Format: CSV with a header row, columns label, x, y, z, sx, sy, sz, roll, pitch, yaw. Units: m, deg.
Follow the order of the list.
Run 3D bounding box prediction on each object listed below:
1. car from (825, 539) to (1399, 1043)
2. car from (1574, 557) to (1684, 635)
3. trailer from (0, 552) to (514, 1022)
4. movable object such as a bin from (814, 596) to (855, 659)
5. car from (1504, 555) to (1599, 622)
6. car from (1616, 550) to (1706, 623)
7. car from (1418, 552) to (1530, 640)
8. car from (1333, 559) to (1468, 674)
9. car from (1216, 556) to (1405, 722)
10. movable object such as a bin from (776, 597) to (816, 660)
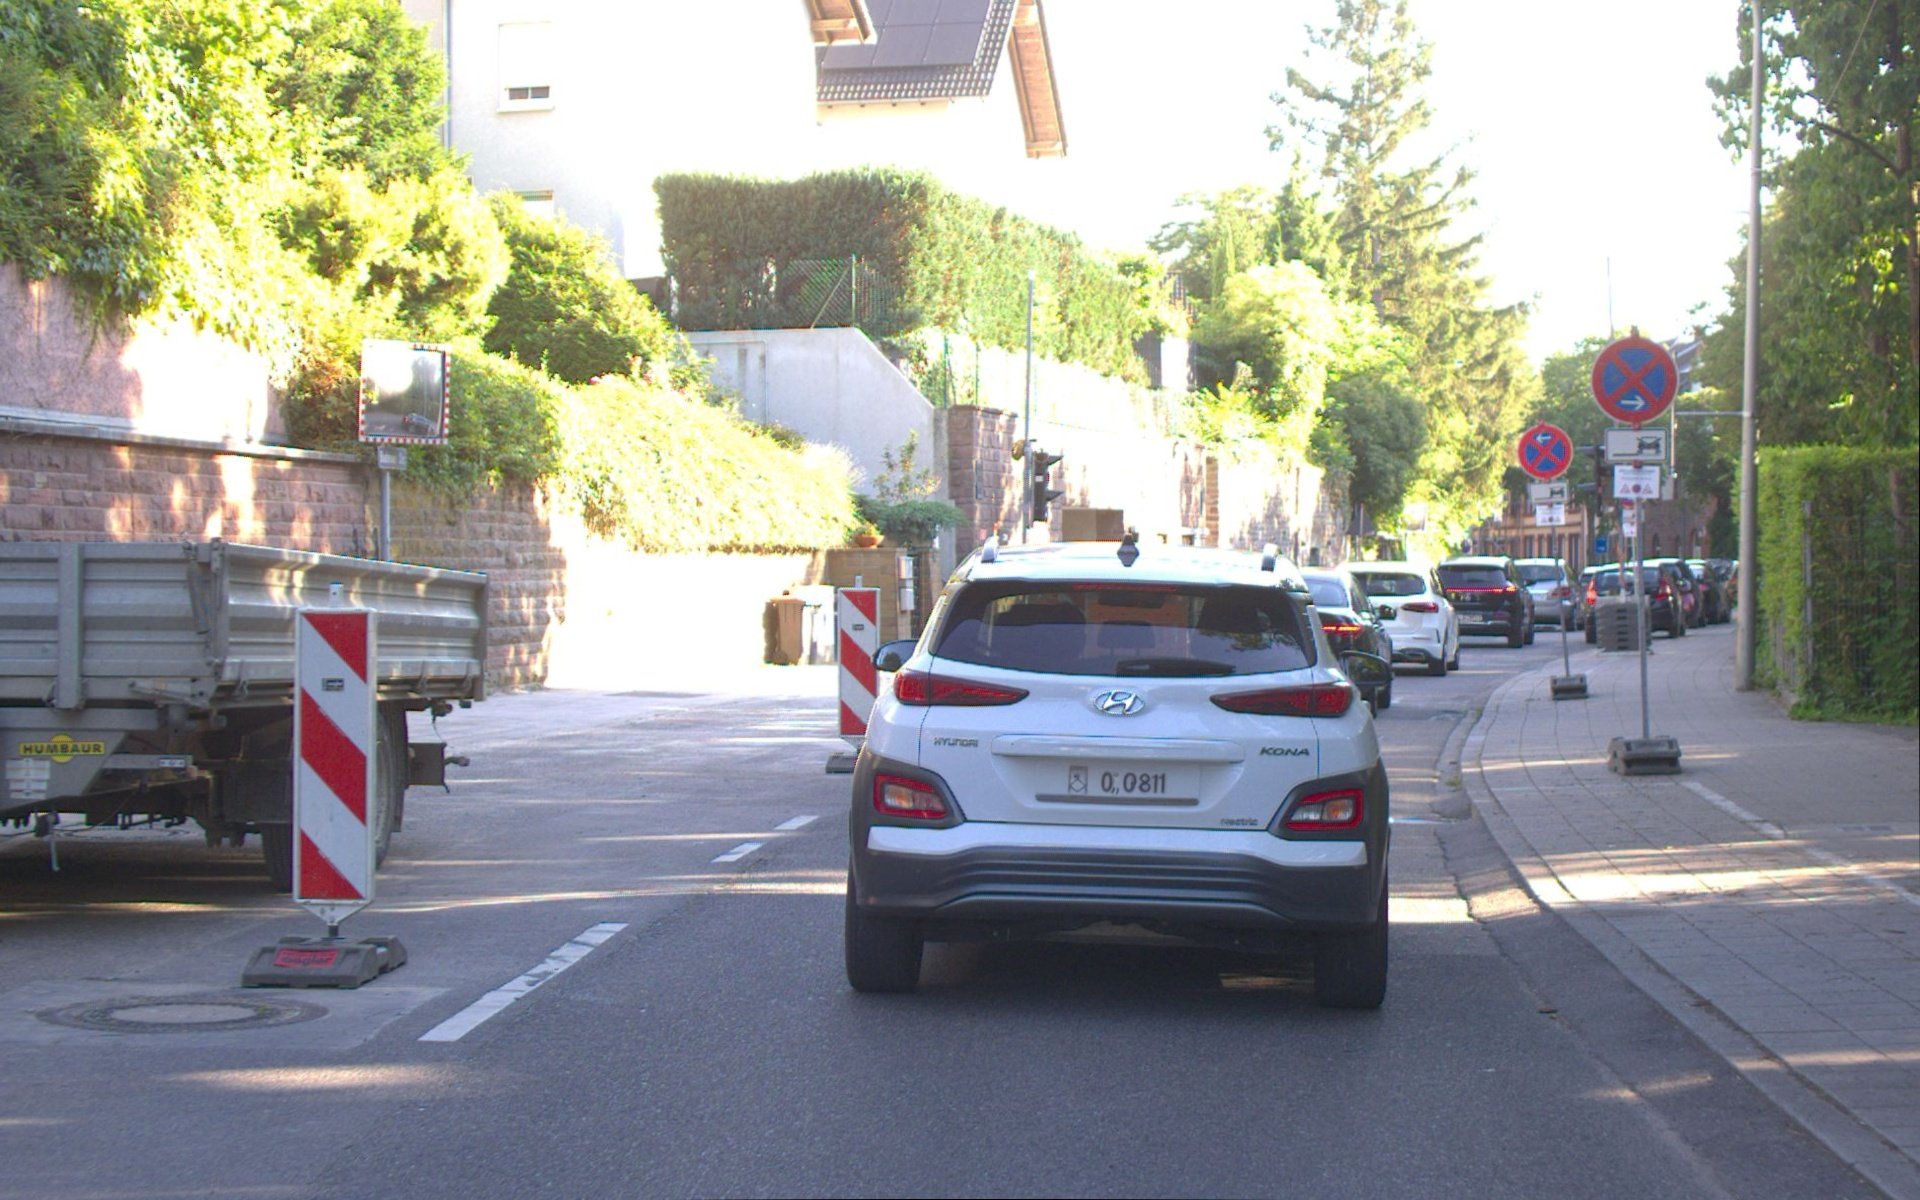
label,x,y,z,sx,sy,sz,roll,pitch,yaw
car,0.662,0.574,12.807,1.772,1.537,3.999,1,1,6
car,12.787,-0.104,65.597,1.795,1.436,3.997,0,1,15
trailer,-3.899,0.546,14.603,2.640,1.484,7.118,1,1,4
movable object such as a bin,-1.770,0.386,48.510,0.456,0.881,0.500,1,1,14
car,13.147,-0.272,76.318,1.695,1.442,3.879,0,1,16
car,15.443,-0.318,75.696,1.654,1.559,2.870,0,1,17
car,9.280,-0.097,61.884,1.694,1.528,3.879,0,1,13
car,5.995,0.197,46.569,1.571,1.472,3.546,1,1,11
car,3.486,0.340,33.770,1.512,1.528,3.546,0,1,11
movable object such as a bin,-2.218,0.382,46.534,0.454,0.831,0.392,0,1,13
